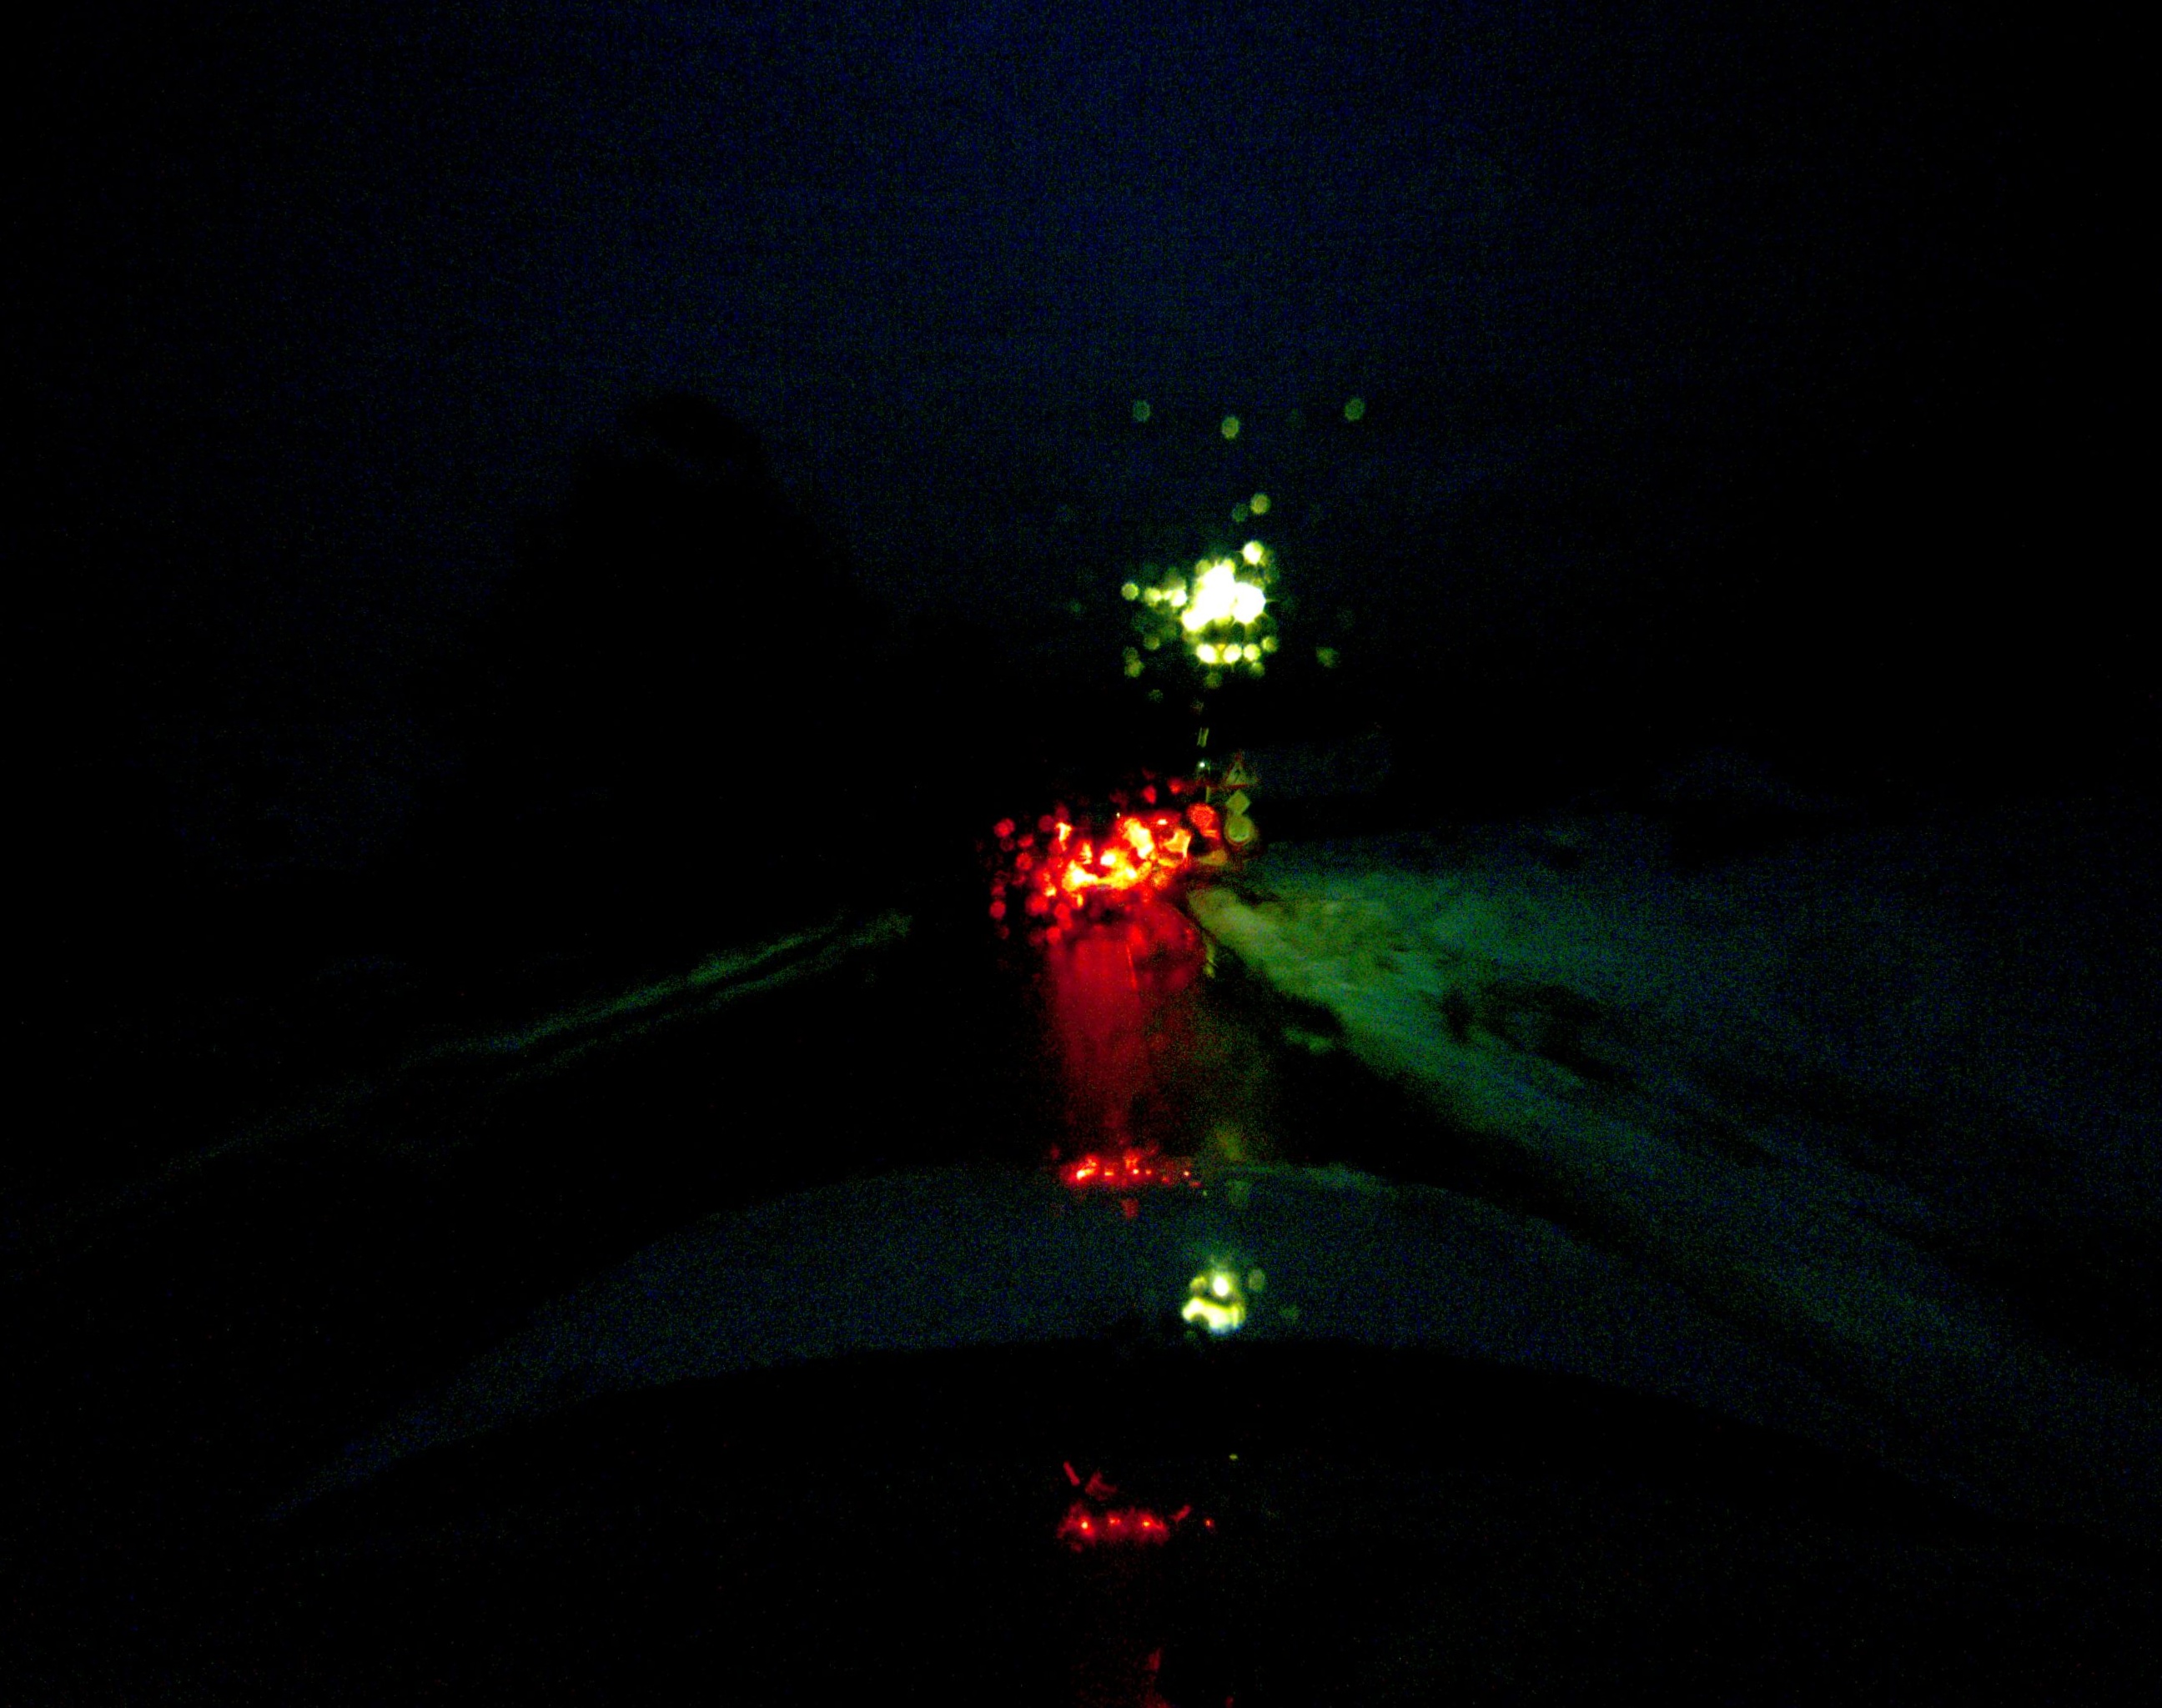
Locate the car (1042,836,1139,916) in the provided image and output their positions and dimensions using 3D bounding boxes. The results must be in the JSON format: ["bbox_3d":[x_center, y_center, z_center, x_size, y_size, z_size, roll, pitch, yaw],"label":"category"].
[{"bbox_3d":[0.257,0.536,21.812,2.266,1.840,5.007,-1,0,1],"label":"car"}]

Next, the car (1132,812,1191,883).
[{"bbox_3d":[3.789,-0.268,38.515,2.423,3.019,5.332,-3,-1,5],"label":"car"}]

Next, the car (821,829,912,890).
[{"bbox_3d":[-9.933,0.255,38.376,2.461,2.571,6.229,-1,0,1],"label":"car"}]
